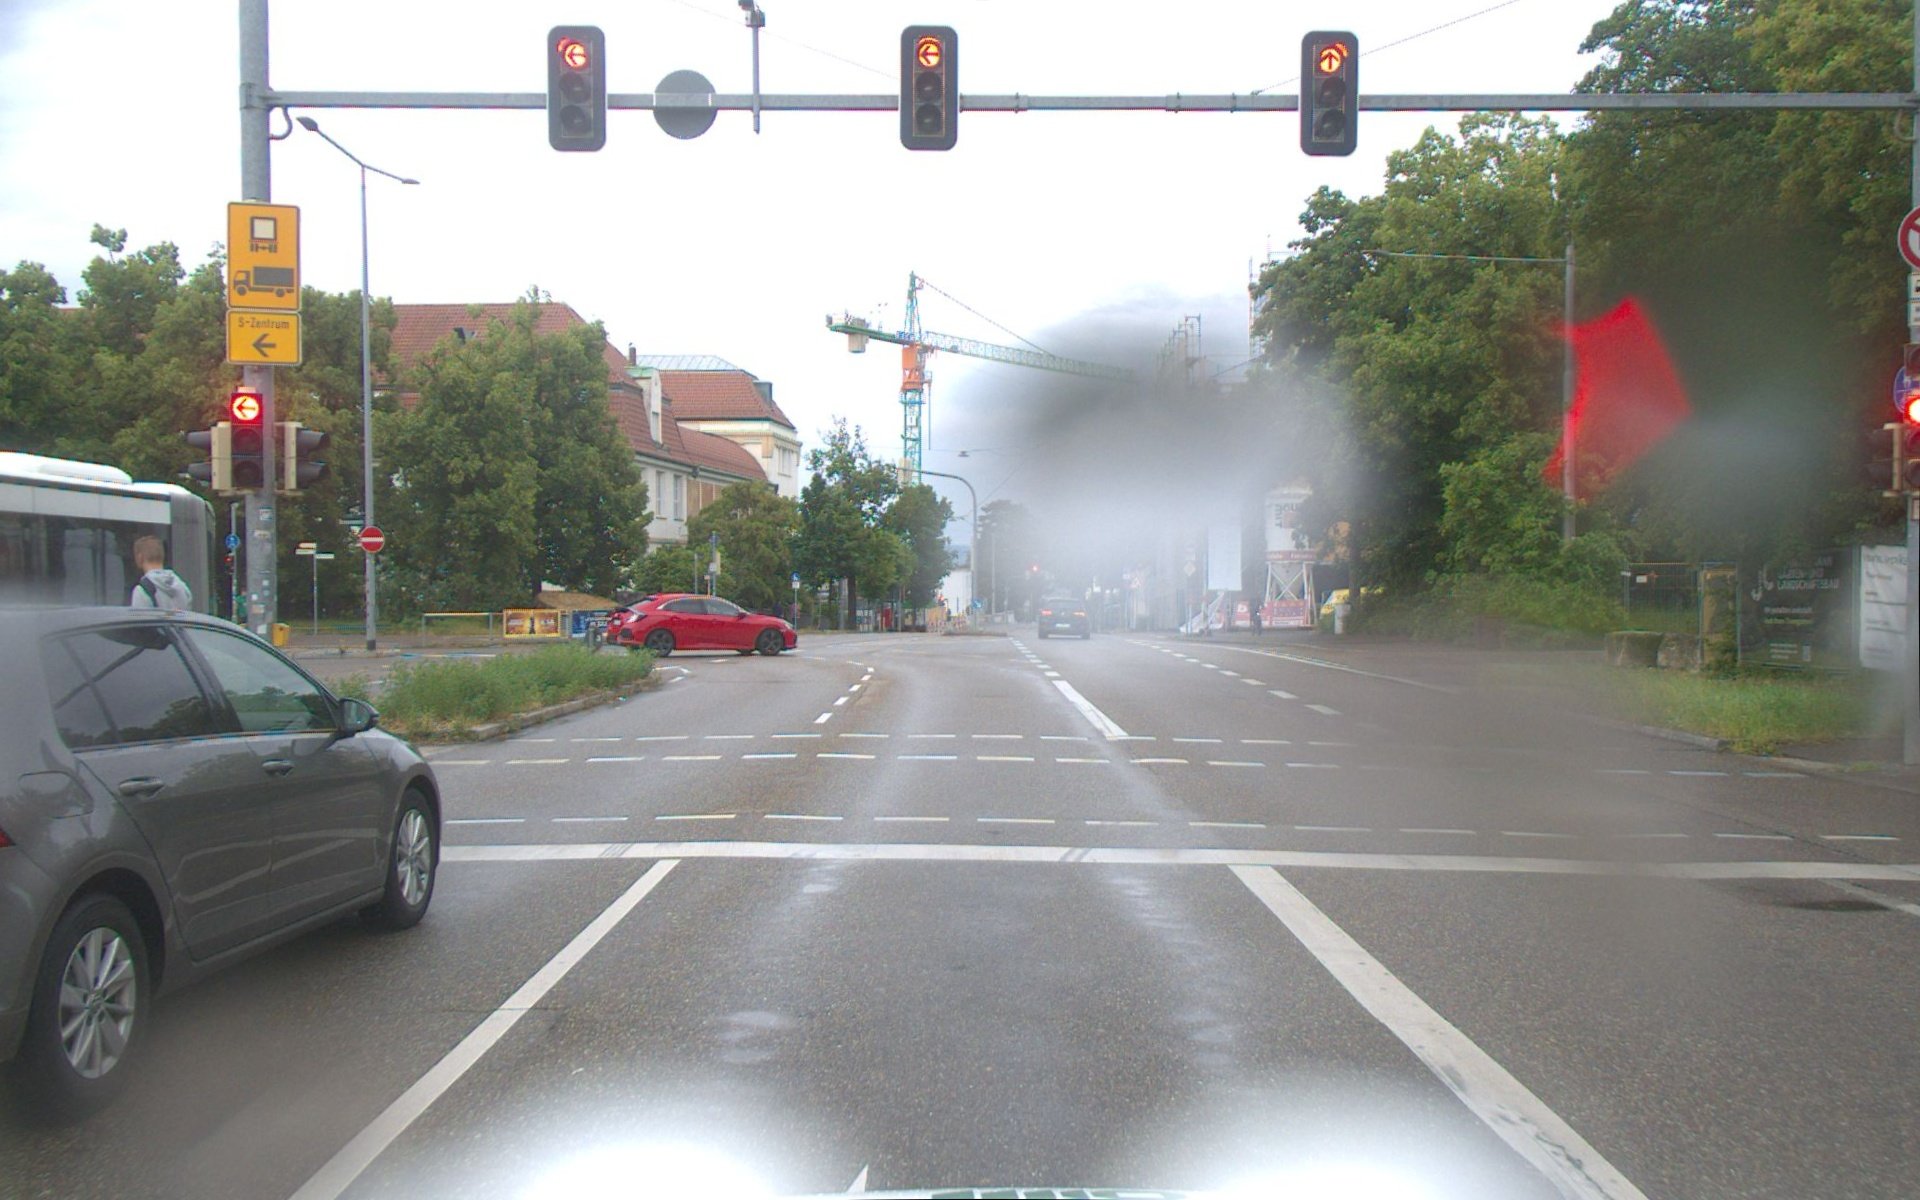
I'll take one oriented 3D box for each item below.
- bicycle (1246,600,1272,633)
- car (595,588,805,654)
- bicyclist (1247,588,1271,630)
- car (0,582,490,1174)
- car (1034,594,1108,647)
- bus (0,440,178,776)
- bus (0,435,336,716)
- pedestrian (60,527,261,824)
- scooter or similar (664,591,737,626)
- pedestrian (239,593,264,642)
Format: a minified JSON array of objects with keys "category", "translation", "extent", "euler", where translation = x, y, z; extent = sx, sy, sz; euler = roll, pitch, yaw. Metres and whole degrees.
[{"category":"bicycle","translation":[11.417,0.633,63.258],"extent":[0.705,1.214,1.756],"euler":[1,-1,2]},{"category":"car","translation":[-6.042,0.473,38.536],"extent":[4.453,1.450,1.982],"euler":[0,0,-28]},{"category":"bicyclist","translation":[11.426,0.351,63.236],"extent":[0.705,1.591,1.143],"euler":[1,-2,2]},{"category":"car","translation":[-3.226,0.706,5.913],"extent":[1.768,1.454,4.198],"euler":[-2,0,1]},{"category":"car","translation":[3.949,0.752,58.201],"extent":[1.951,1.736,4.003],"euler":[1,-2,13]},{"category":"bus","translation":[-10.399,0.090,14.963],"extent":[2.832,3.157,9.745],"euler":[-1,0,-6]},{"category":"bus","translation":[-11.486,-0.315,24.096],"extent":[2.835,3.365,8.556],"euler":[-1,0,-10]},{"category":"pedestrian","translation":[-5.809,0.530,12.065],"extent":[0.920,2.048,0.847],"euler":[-3,0,5]},{"category":"scooter or similar","translation":[-11.356,0.373,72.382],"extent":[3.025,1.465,0.948],"euler":[-1,0,-2]},{"category":"pedestrian","translation":[-22.270,0.533,51.974],"extent":[0.608,1.516,0.769],"euler":[0,0,-16]}]
